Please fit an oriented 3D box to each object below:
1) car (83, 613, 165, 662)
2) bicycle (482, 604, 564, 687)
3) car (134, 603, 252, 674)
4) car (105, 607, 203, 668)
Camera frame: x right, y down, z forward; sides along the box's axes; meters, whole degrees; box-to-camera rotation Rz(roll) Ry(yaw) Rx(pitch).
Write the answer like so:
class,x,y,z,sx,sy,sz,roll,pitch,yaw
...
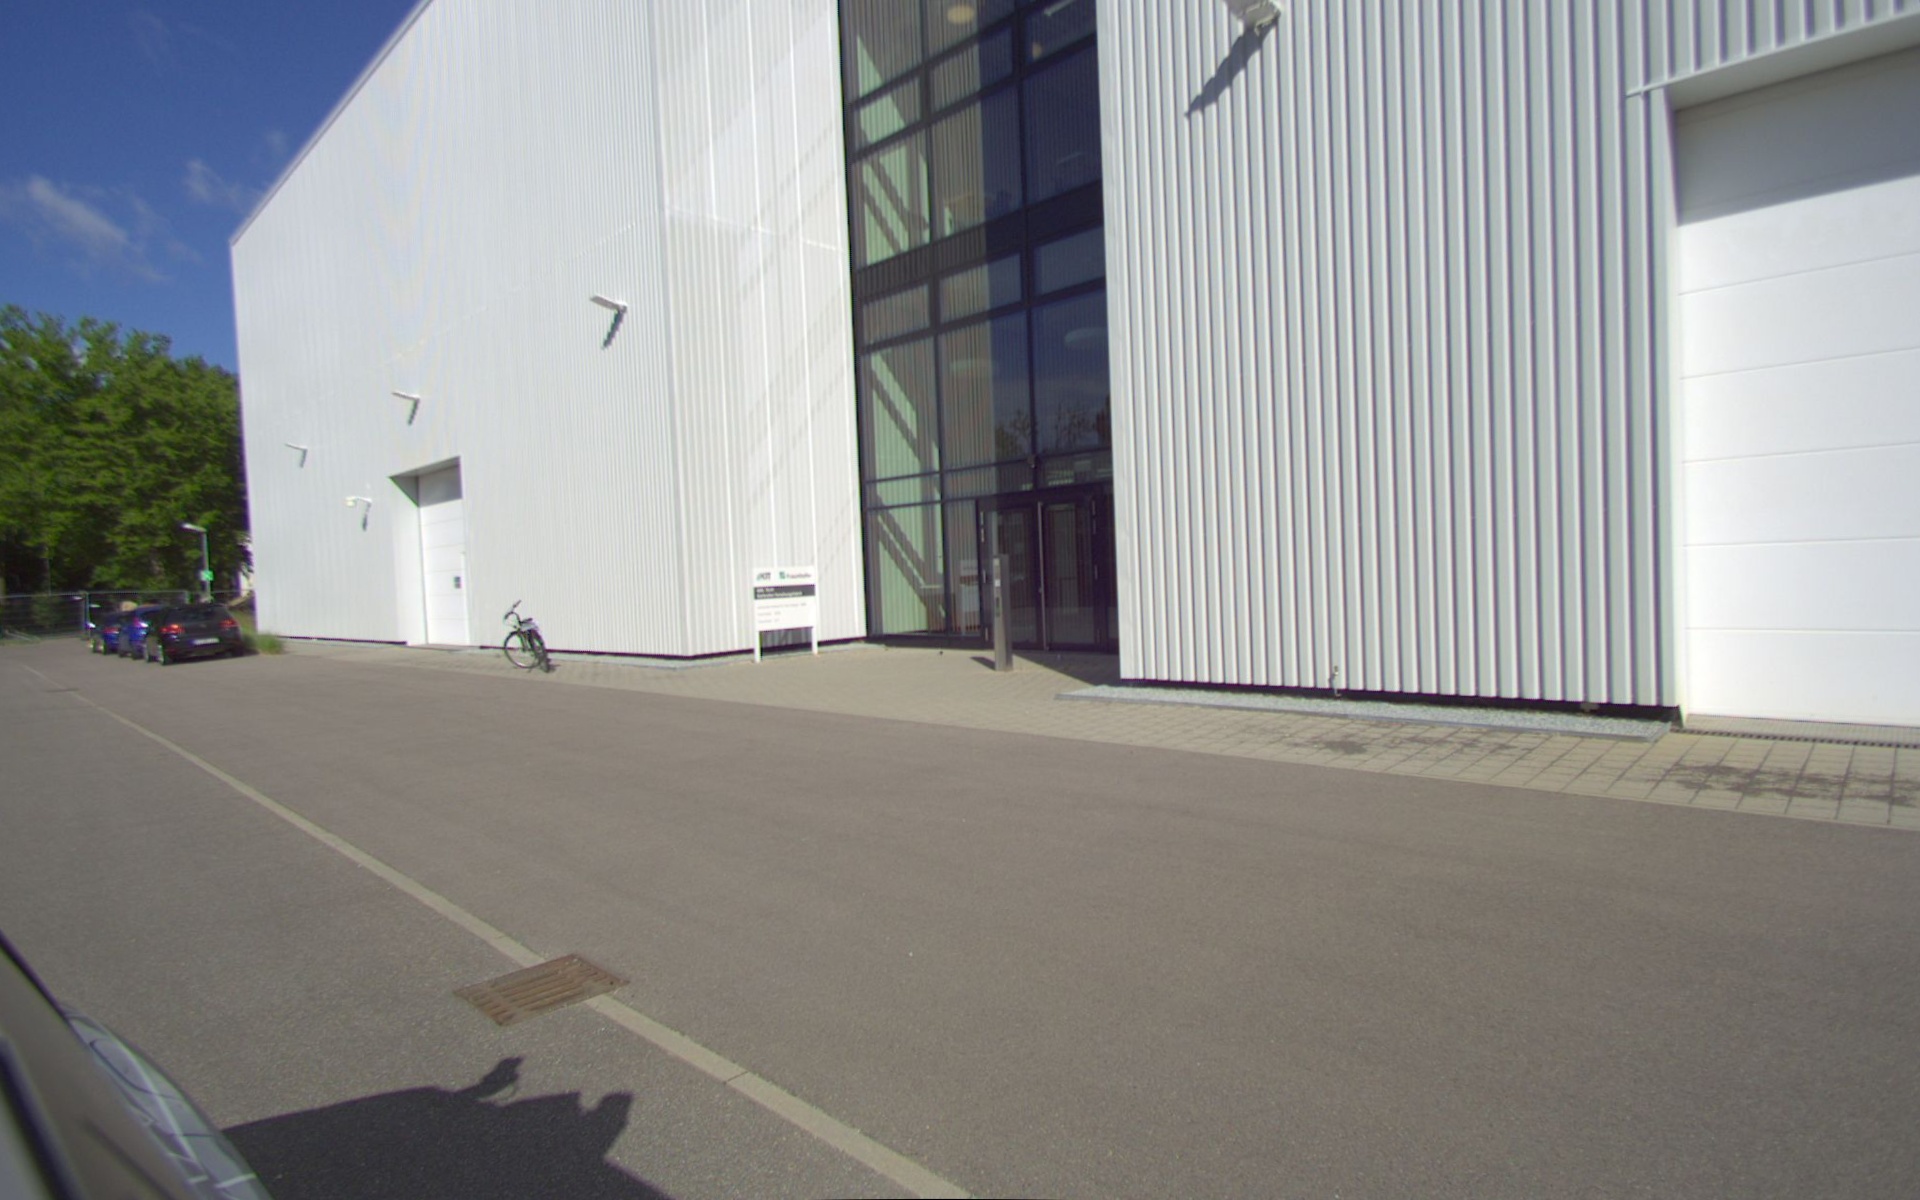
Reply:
class,x,y,z,sx,sy,sz,roll,pitch,yaw
car,-27.874,1.206,33.691,1.765,1.451,4.003,-2,1,-44
bicycle,-7.230,0.708,16.685,0.895,1.151,1.905,-6,4,-31
car,-20.020,0.951,26.347,1.869,1.532,4.003,-7,4,-44
car,-23.866,1.068,29.923,1.765,1.532,4.003,-7,4,-44
